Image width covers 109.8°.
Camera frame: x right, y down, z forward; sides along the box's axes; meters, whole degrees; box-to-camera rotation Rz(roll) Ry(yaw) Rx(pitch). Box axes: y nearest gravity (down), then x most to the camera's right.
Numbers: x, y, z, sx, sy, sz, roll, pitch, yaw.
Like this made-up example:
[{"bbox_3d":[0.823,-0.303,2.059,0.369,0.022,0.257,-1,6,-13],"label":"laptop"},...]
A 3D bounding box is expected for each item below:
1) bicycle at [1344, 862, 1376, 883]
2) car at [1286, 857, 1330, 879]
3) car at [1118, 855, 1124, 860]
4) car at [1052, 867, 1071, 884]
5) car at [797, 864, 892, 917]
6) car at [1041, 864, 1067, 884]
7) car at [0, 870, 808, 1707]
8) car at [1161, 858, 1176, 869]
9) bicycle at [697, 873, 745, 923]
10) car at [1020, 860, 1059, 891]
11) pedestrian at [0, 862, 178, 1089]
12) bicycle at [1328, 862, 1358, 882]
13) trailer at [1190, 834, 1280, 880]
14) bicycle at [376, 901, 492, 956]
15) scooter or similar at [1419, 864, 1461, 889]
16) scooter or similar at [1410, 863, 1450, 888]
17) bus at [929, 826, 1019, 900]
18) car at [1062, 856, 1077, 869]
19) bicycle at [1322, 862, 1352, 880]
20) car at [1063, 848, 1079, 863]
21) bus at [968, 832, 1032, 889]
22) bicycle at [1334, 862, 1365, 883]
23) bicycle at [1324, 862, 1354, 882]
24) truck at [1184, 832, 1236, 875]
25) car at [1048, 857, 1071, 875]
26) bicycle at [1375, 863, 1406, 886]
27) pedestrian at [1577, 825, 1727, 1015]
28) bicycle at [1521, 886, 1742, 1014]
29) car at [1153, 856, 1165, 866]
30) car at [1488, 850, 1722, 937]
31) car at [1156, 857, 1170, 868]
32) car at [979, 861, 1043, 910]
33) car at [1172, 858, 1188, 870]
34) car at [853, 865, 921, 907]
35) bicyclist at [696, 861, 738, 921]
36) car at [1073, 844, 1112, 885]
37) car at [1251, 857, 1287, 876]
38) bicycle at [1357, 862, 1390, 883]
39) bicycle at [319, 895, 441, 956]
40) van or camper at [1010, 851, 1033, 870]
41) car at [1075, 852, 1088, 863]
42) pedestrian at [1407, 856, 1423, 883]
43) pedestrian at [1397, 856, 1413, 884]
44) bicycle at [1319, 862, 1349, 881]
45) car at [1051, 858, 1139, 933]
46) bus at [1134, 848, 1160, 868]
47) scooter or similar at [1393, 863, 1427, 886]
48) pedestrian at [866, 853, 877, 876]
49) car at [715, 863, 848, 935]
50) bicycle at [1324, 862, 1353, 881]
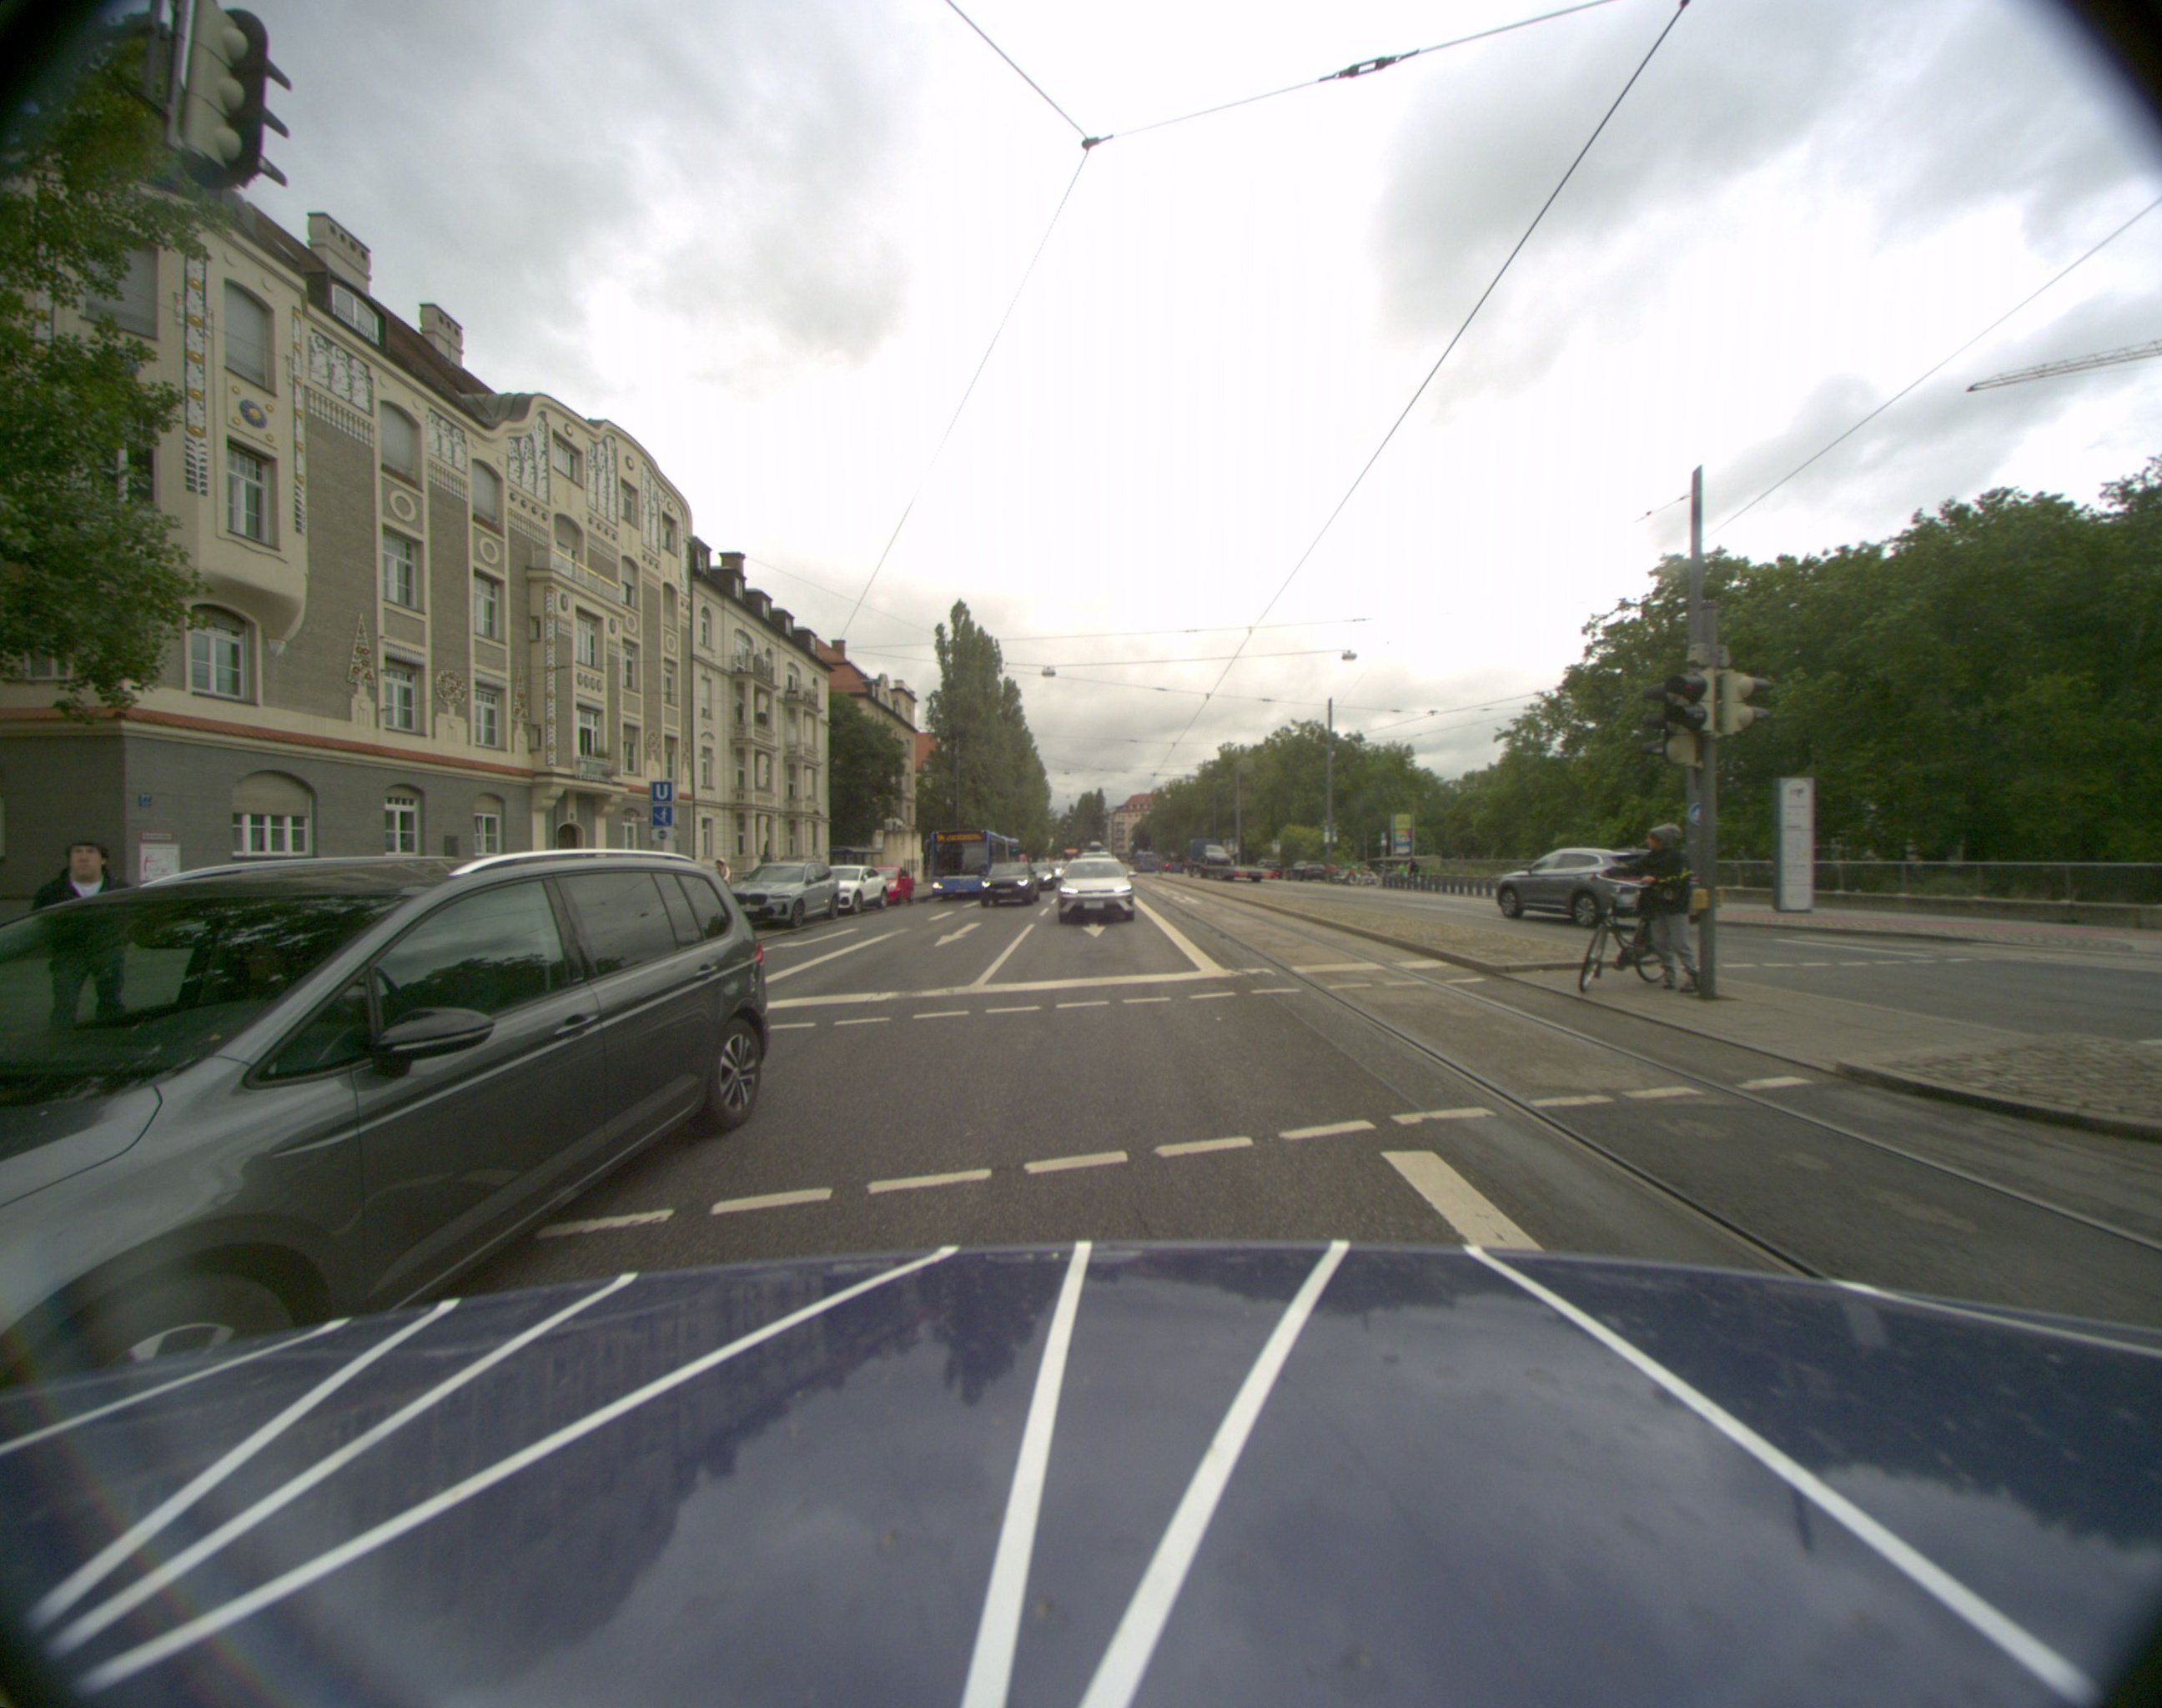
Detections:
[{"bbox_3d":[16.156,1.073,44.048,1.693,1.165,0.561,0,0,-9],"label":"bicycle"},{"bbox_3d":[15.866,0.953,53.222,1.864,1.517,4.233,0,0,1],"label":"car"},{"bbox_3d":[11.900,1.121,227.241,1.628,1.473,3.602,0,0,1],"label":"car"},{"bbox_3d":[-1.774,1.943,70.424,1.704,1.513,3.632,0,0,0],"label":"car"},{"bbox_3d":[-7.718,1.148,25.166,1.730,1.567,3.967,0,0,3],"label":"car"},{"bbox_3d":[-1.923,1.424,55.040,1.704,1.360,3.632,0,0,1],"label":"car"},{"bbox_3d":[-2.875,0.959,2.916,1.776,1.637,4.708,-2,0,2],"label":"car"},{"bbox_3d":[13.475,1.480,117.261,1.809,1.633,4.000,0,0,1],"label":"car"},{"bbox_3d":[-9.944,1.184,21.038,0.424,1.280,1.779,-1,0,2],"label":"bicycle"},{"bbox_3d":[-2.145,1.101,40.143,1.704,1.425,4.245,-3,0,1],"label":"car"},{"bbox_3d":[-8.519,0.971,6.442,0.881,1.791,0.757,-1,0,12],"label":"pedestrian"},{"bbox_3d":[15.792,1.087,45.807,1.693,1.165,0.561,0,0,-9],"label":"bicycle"},{"bbox_3d":[10.257,0.148,52.885,2.617,2.666,15.637,1,0,-1],"label":"trailer"},{"bbox_3d":[-13.828,1.574,16.307,0.391,0.972,1.842,-1,1,28],"label":"bicycle"},{"bbox_3d":[16.943,1.047,35.886,1.692,1.165,0.562,0,0,-1],"label":"scooter or similar"},{"bbox_3d":[17.017,1.043,37.069,1.692,1.165,0.562,0,0,-1],"label":"scooter or similar"},{"bbox_3d":[-4.838,0.397,36.251,2.637,2.956,9.466,-2,0,1],"label":"bus"},{"bbox_3d":[-1.298,0.959,87.529,1.704,1.513,3.632,0,0,0],"label":"car"},{"bbox_3d":[16.271,1.075,48.246,1.692,1.165,0.562,0,0,-2],"label":"bicycle"},{"bbox_3d":[-1.863,0.259,139.300,2.806,2.835,5.114,0,0,1],"label":"car"},{"bbox_3d":[-4.648,0.377,45.271,2.637,2.956,8.534,-2,0,1],"label":"bus"},{"bbox_3d":[15.837,1.086,44.874,1.693,1.165,0.505,0,0,-9],"label":"bicycle"},{"bbox_3d":[15.768,1.088,46.392,1.693,1.165,0.505,0,0,-7],"label":"bicycle"},{"bbox_3d":[10.106,-0.035,60.226,2.572,3.069,7.689,1,0,-1],"label":"truck"},{"bbox_3d":[-1.682,0.971,60.723,1.704,1.379,3.632,0,-1,0],"label":"car"},{"bbox_3d":[16.439,1.065,40.341,1.696,1.165,0.560,0,0,-28],"label":"bicycle"},{"bbox_3d":[5.812,0.620,7.770,0.861,1.801,0.896,-2,1,-19],"label":"pedestrian"},{"bbox_3d":[5.720,0.958,7.890,2.232,1.144,0.505,-2,1,-13],"label":"bicycle"},{"bbox_3d":[13.828,1.262,134.509,1.809,1.674,4.000,0,0,1],"label":"car"},{"bbox_3d":[11.268,0.755,16.850,1.868,1.629,4.677,1,0,-1],"label":"car"},{"bbox_3d":[13.574,1.392,126.113,1.809,1.633,4.000,0,0,1],"label":"car"},{"bbox_3d":[-2.434,1.063,27.152,1.780,1.495,3.970,-3,0,1],"label":"car"},{"bbox_3d":[14.050,1.465,108.257,1.809,1.633,4.000,0,0,1],"label":"car"},{"bbox_3d":[-7.600,1.214,30.131,1.730,1.500,3.742,0,0,0],"label":"car"},{"bbox_3d":[-10.007,1.004,20.916,0.681,1.594,0.939,0,1,1],"label":"bicyclist"},{"bbox_3d":[0.606,0.525,40.845,1.998,2.100,4.000,0,0,1],"label":"car"},{"bbox_3d":[15.654,1.024,63.350,1.998,1.561,4.102,0,0,1],"label":"car"},{"bbox_3d":[16.496,1.060,42.878,1.693,1.165,0.561,0,0,-9],"label":"bicycle"},{"bbox_3d":[-15.175,1.524,16.512,1.890,1.147,0.464,-2,1,-41],"label":"bicycle"},{"bbox_3d":[-6.643,0.713,85.392,2.124,2.086,5.514,0,0,0],"label":"van or camper"},{"bbox_3d":[0.148,0.681,151.488,2.465,2.178,5.456,0,0,1],"label":"car"},{"bbox_3d":[19.200,0.874,43.660,0.632,1.549,0.589,0,1,0],"label":"pedestrian"},{"bbox_3d":[18.537,0.909,43.480,0.632,1.549,0.589,0,1,0],"label":"pedestrian"},{"bbox_3d":[15.698,1.090,47.090,1.693,1.165,0.505,0,0,-6],"label":"bicycle"},{"bbox_3d":[0.394,0.894,18.593,1.812,1.496,4.953,-2,0,2],"label":"car"},{"bbox_3d":[10.049,0.575,117.248,2.632,2.949,13.414,1,0,-1],"label":"bus"},{"bbox_3d":[17.001,1.041,39.250,1.695,1.165,0.561,0,0,-18],"label":"scooter or similar"},{"bbox_3d":[-16.929,0.832,61.448,0.609,1.885,0.673,0,1,3],"label":"pedestrian"},{"bbox_3d":[-7.808,1.090,20.312,1.737,1.651,4.502,0,0,0],"label":"car"},{"bbox_3d":[16.167,1.069,47.726,1.692,1.165,0.505,0,0,-3],"label":"bicycle"}]
